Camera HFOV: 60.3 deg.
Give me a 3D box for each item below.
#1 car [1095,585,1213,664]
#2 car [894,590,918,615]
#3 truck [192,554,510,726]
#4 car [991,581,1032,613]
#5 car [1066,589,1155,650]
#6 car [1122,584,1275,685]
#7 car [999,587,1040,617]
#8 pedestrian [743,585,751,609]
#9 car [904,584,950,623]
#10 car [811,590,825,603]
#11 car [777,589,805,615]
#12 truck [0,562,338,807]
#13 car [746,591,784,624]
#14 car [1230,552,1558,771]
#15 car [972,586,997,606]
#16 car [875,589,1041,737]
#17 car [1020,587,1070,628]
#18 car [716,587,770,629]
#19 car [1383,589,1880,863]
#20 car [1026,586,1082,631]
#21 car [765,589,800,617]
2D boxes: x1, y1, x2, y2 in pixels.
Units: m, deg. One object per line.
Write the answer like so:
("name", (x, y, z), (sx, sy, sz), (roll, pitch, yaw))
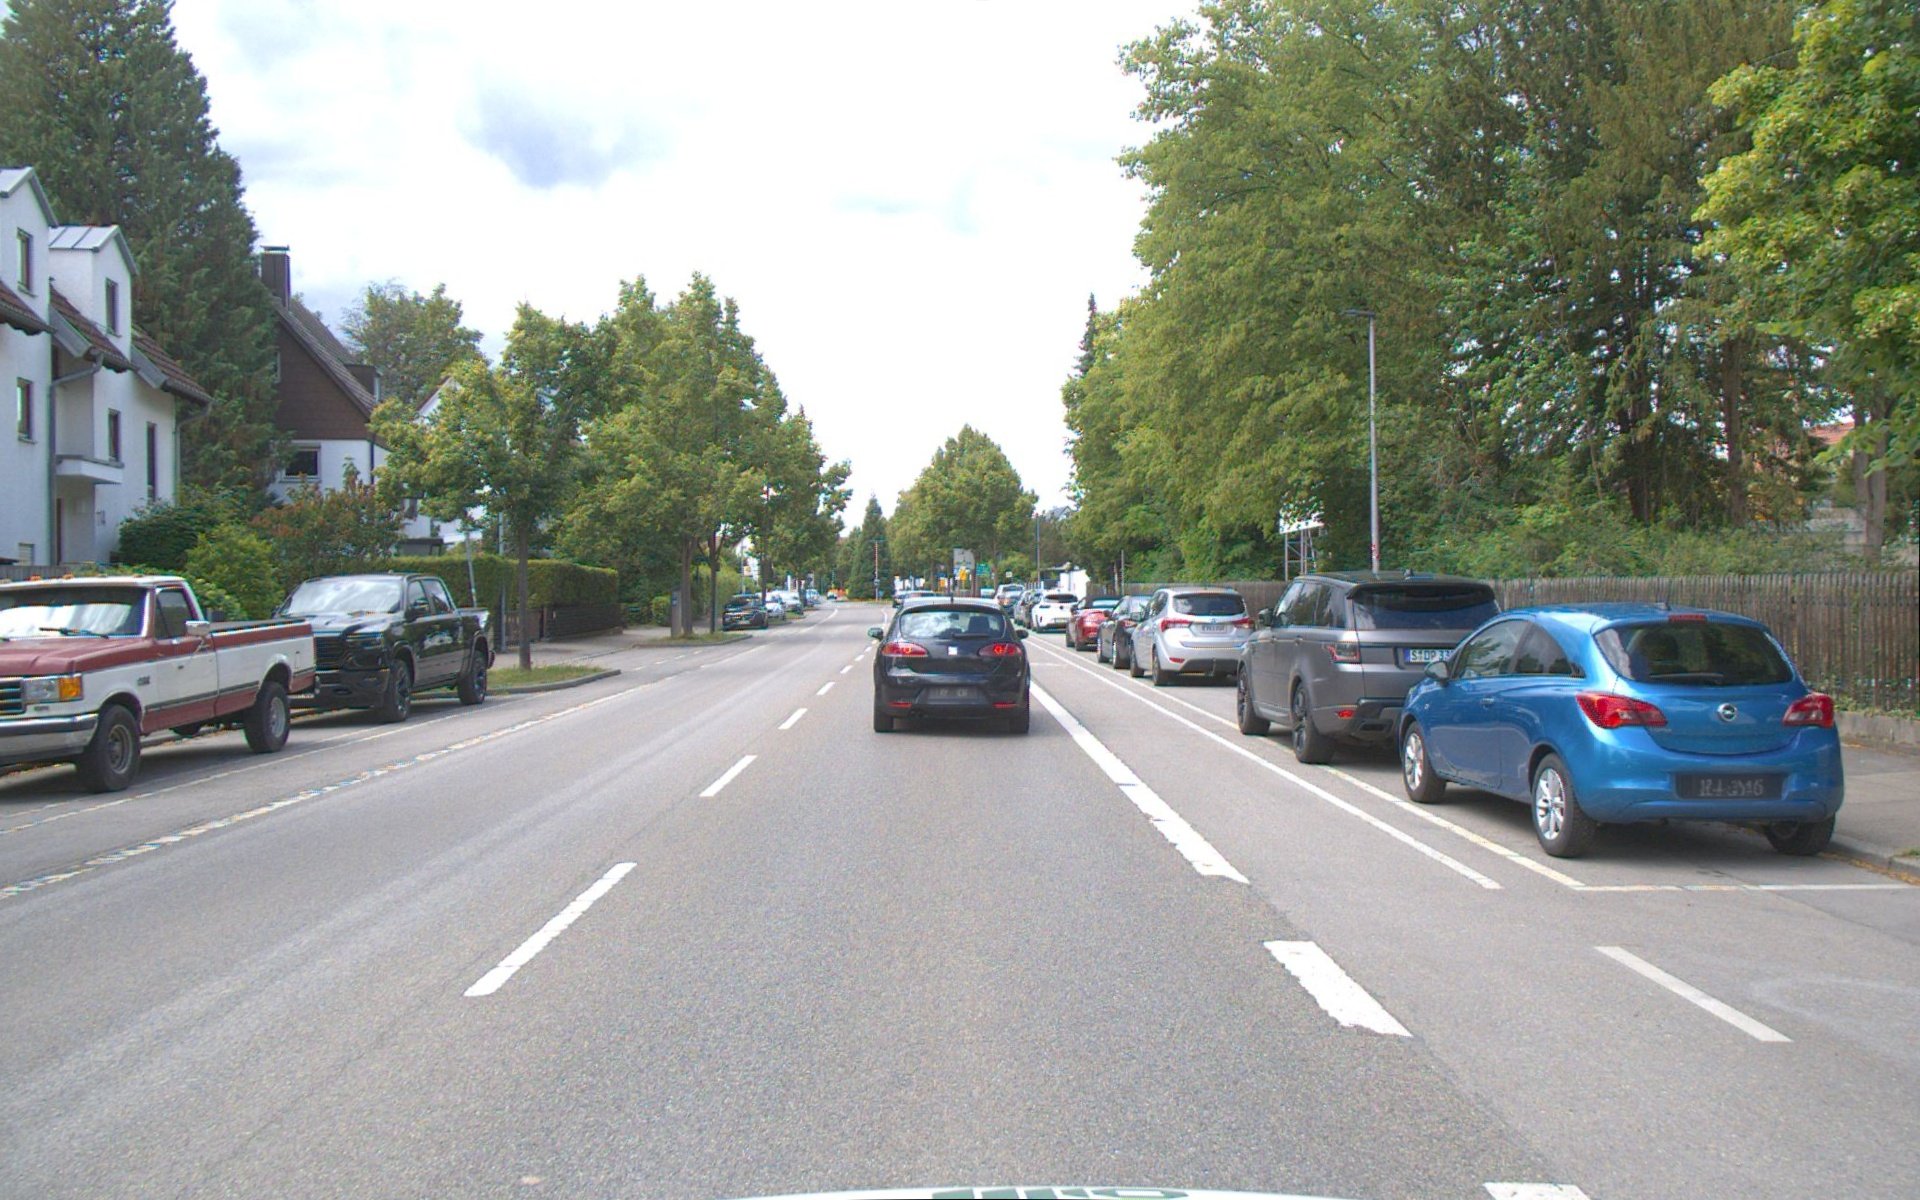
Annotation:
("car", (3.963, 0.477, 34.495), (1.779, 1.541, 4.678), (0, 0, -2))
("car", (-4.534, 0.215, 139.362), (1.953, 2.049, 3.998), (-1, 0, -2))
("truck", (-8.320, 0.470, 23.379), (2.374, 2.079, 5.993), (-1, 0, -2))
("car", (2.790, -0.159, 90.182), (1.862, 1.671, 4.114), (-1, 0, -3))
("car", (3.908, 0.473, 43.649), (1.821, 1.438, 4.442), (1, 1, -1))
("car", (4.060, 0.542, 28.836), (1.825, 1.617, 4.419), (0, 0, -3))
("car", (2.984, 0.082, 83.562), (1.825, 1.441, 4.602), (-1, 1, -1))
("pedestrian", (-16.440, -0.242, 127.501), (0.493, 1.837, 0.671), (-1, 0, -4))
("car", (-1.478, 0.139, 73.182), (1.953, 1.641, 3.998), (-1, 0, -2))
("car", (-19.566, -0.482, 227.552), (1.762, 1.629, 3.997), (-2, 0, -4))
("car", (-10.686, 0.137, 104.968), (1.644, 1.579, 4.268), (-1, 0, -5))
("truck", (-8.012, 0.683, 15.845), (1.927, 1.901, 5.664), (-3, 0, -1))
("car", (-10.227, 0.358, 86.984), (1.684, 1.641, 3.907), (-2, 0, -4))
("car", (4.086, 0.528, 16.469), (1.953, 1.847, 4.826), (0, 0, -1))
("car", (1.864, -0.315, 126.941), (1.579, 1.401, 4.384), (-1, -1, -3))
("car", (-0.037, 0.640, 19.089), (1.697, 1.512, 3.999), (1, 0, -1))
("car", (3.318, 0.254, 65.109), (1.667, 1.536, 4.536), (0, 1, -1))
("car", (-9.481, 0.309, 72.509), (2.054, 1.675, 5.033), (-2, 1, -5))
("car", (4.282, 0.706, 11.249), (1.651, 1.527, 3.919), (0, 0, -3))
("car", (3.334, 0.292, 59.256), (1.732, 1.537, 4.030), (-1, 0, -1))
("car", (-10.366, 0.167, 96.607), (1.955, 1.511, 4.884), (-2, 0, -6))
